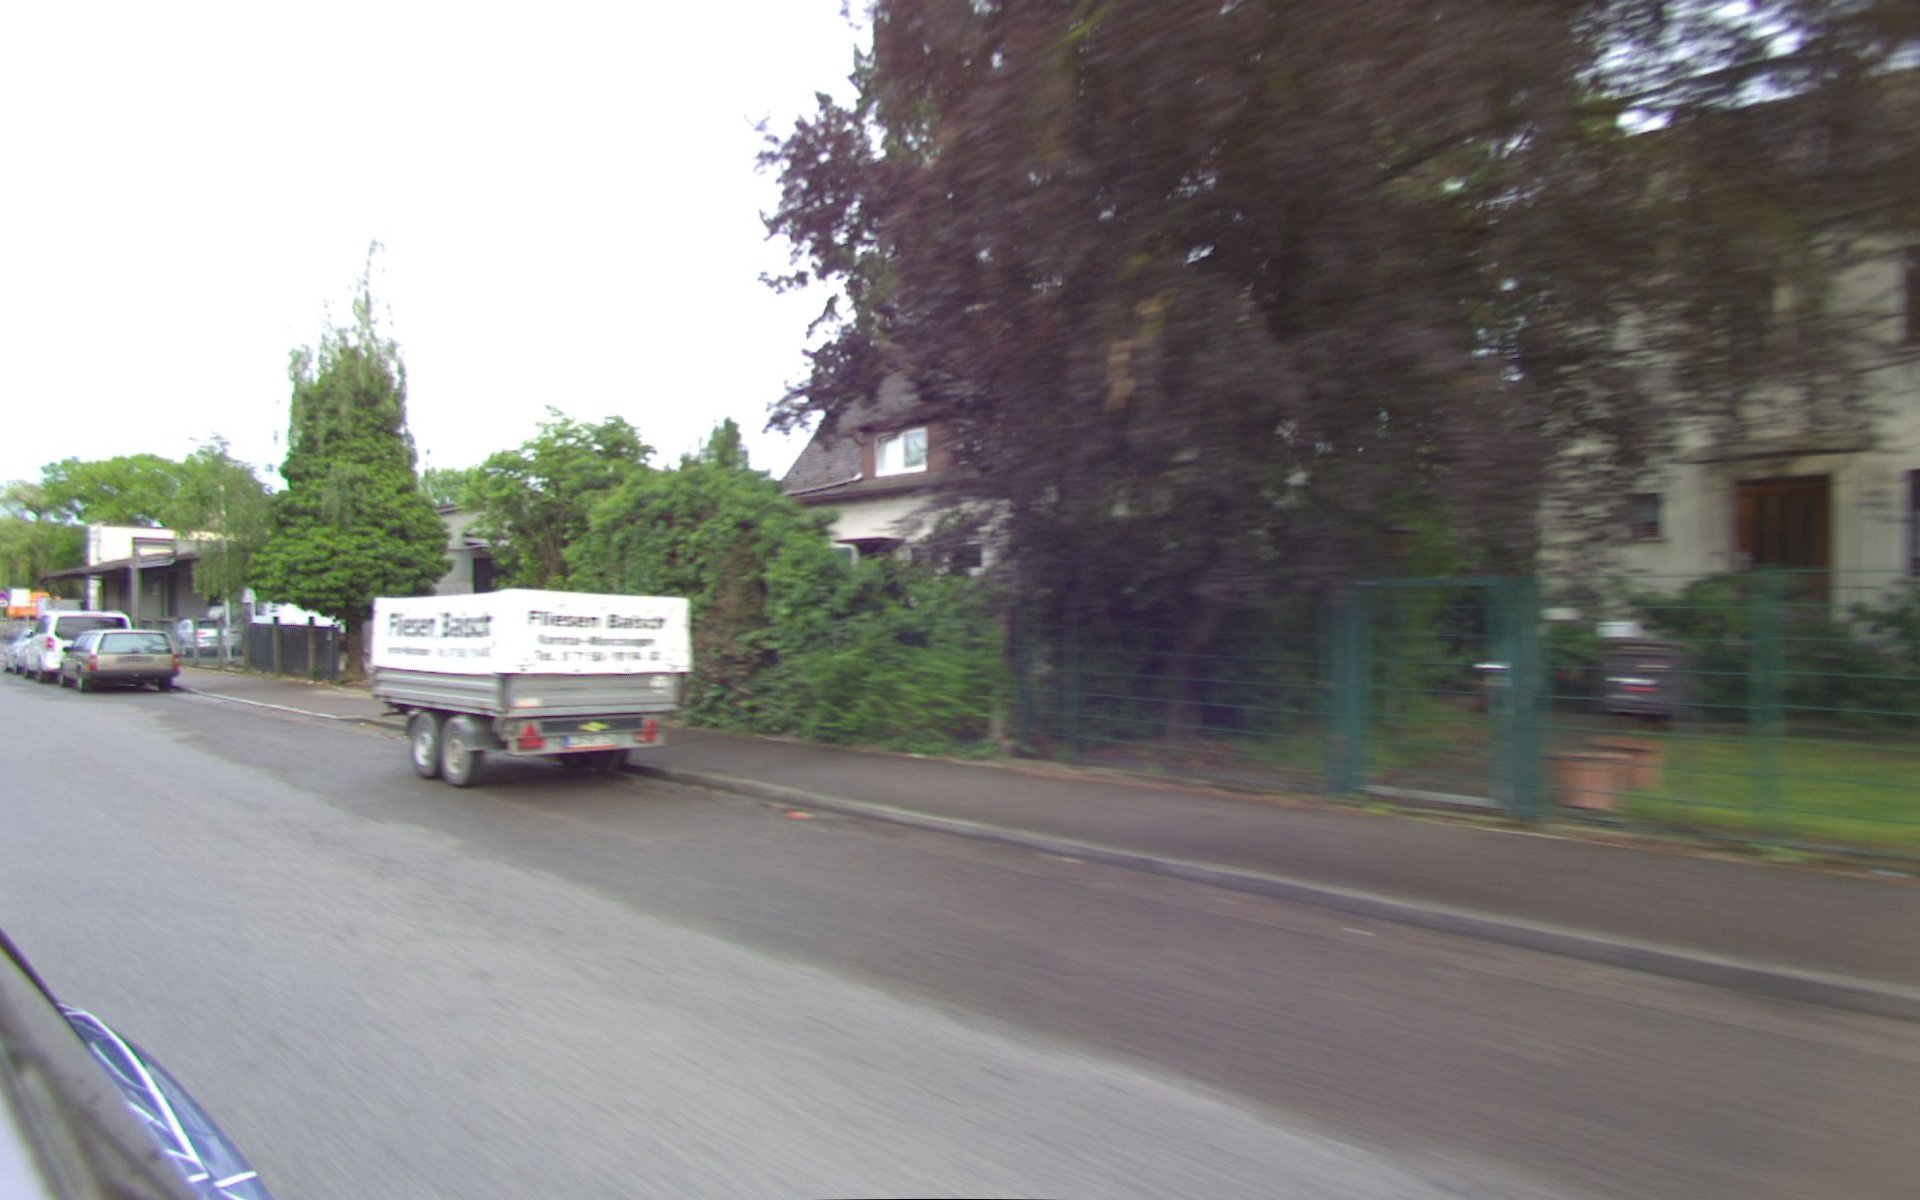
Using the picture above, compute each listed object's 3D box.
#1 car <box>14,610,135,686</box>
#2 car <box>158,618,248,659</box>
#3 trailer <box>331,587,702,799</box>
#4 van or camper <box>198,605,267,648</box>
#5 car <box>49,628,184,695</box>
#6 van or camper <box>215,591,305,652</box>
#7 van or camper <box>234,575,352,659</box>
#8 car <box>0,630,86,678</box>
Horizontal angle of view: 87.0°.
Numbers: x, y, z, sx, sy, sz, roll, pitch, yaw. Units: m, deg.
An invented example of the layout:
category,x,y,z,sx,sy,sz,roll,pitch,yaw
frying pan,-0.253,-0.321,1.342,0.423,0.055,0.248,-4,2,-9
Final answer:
category,x,y,z,sx,sy,sz,roll,pitch,yaw
car,-24.467,1.260,27.894,5.209,1.906,1.873,-1,-3,42
car,-29.547,1.470,39.435,4.785,1.451,1.810,-1,0,41
trailer,-4.855,0.814,10.729,4.547,1.779,1.909,-1,-1,42
van or camper,-35.375,1.264,49.165,4.374,1.950,1.901,-1,0,43
car,-20.384,1.407,24.384,4.980,1.438,1.797,-1,-3,42
van or camper,-30.625,0.908,44.190,5.194,2.509,1.973,-1,0,41
van or camper,-26.318,0.656,39.835,6.147,3.058,2.279,-1,0,41
car,-29.079,1.653,31.963,4.705,1.375,1.620,-1,-3,42
